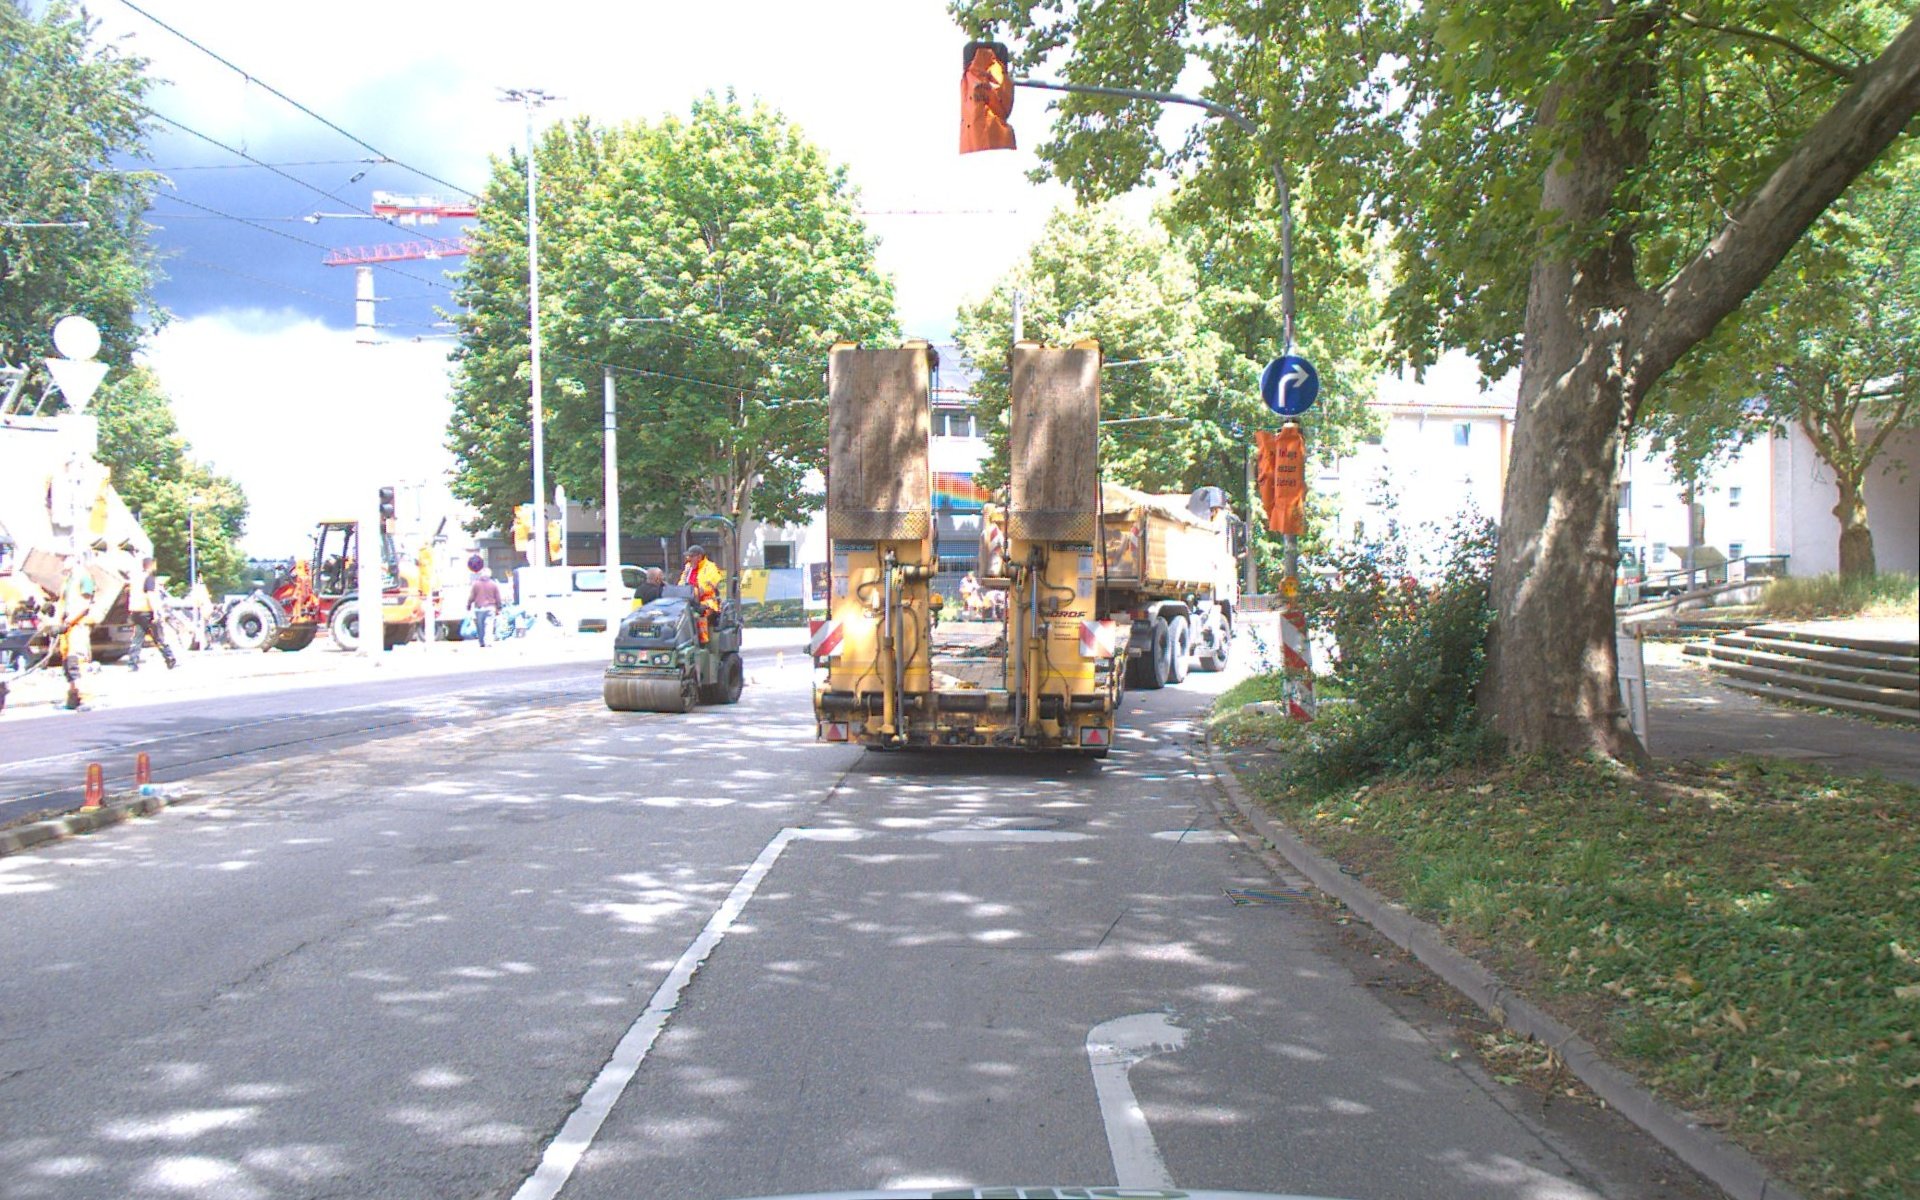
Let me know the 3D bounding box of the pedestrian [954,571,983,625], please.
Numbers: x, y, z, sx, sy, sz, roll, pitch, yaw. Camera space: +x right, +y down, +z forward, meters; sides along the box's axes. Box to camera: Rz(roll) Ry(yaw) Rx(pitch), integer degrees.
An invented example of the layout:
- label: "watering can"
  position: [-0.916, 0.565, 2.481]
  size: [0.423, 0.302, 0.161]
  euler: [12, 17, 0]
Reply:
- label: "pedestrian"
  position: [0.247, -0.063, 48.197]
  size: [0.745, 1.568, 0.797]
  euler: [-1, 0, -7]

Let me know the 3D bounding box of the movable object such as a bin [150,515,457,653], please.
- label: "movable object such as a bin"
  position: [-13.372, -0.320, 33.879]
  size: [5.452, 2.715, 2.117]
  euler: [0, 0, 5]

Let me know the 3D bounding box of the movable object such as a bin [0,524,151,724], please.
- label: "movable object such as a bin"
  position: [-10.685, 0.249, 18.044]
  size: [1.951, 2.049, 2.971]
  euler: [-1, 1, 8]

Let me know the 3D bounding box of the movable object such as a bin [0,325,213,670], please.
- label: "movable object such as a bin"
  position: [-17.798, -1.593, 30.001]
  size: [8.832, 5.580, 2.818]
  euler: [-1, 0, 28]

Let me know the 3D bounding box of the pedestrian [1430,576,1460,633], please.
- label: "pedestrian"
  position: [13.739, 0.129, 46.874]
  size: [0.747, 1.578, 0.901]
  euler: [0, 2, 21]

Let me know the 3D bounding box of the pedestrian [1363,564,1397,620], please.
- label: "pedestrian"
  position: [12.699, -0.239, 49.968]
  size: [0.693, 1.697, 0.824]
  euler: [0, -1, 39]

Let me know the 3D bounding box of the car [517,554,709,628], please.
- label: "car"
  position: [-9.811, -0.248, 46.689]
  size: [5.148, 1.920, 1.991]
  euler: [-1, -1, -16]

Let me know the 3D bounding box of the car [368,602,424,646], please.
- label: "car"
  position: [-20.024, 0.835, 58.795]
  size: [1.744, 1.484, 3.858]
  euler: [-1, 0, -17]

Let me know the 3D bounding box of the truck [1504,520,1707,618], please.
- label: "truck"
  position: [20.611, -1.028, 52.769]
  size: [6.307, 2.772, 2.645]
  euler: [-4, 2, -30]

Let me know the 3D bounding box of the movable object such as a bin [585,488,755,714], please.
- label: "movable object such as a bin"
  position: [-3.554, -0.011, 20.568]
  size: [1.288, 2.639, 2.365]
  euler: [0, 1, 12]

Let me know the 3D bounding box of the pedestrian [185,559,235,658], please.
- label: "pedestrian"
  position: [-14.024, 0.149, 30.935]
  size: [0.568, 1.819, 0.613]
  euler: [-1, 2, 2]

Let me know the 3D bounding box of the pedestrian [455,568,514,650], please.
- label: "pedestrian"
  position: [-9.972, 0.177, 34.706]
  size: [0.906, 1.688, 0.875]
  euler: [-1, 1, 5]

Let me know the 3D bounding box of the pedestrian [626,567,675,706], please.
- label: "pedestrian"
  position: [-3.883, 0.450, 20.766]
  size: [0.459, 1.711, 0.559]
  euler: [1, 0, 2]

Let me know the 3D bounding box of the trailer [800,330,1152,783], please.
- label: "trailer"
  position: [0.638, -0.415, 18.804]
  size: [2.763, 3.585, 11.059]
  euler: [1, 1, 5]

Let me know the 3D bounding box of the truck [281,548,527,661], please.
- label: "truck"
  position: [-14.450, 0.107, 43.213]
  size: [5.448, 2.613, 2.421]
  euler: [-3, 0, 4]

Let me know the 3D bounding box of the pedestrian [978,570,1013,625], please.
- label: "pedestrian"
  position: [1.035, -0.073, 48.328]
  size: [0.887, 1.559, 0.840]
  euler: [-1, 0, -7]

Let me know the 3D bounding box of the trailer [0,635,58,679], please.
- label: "trailer"
  position: [-14.665, 0.874, 25.077]
  size: [0.778, 0.627, 1.597]
  euler: [-2, 0, 23]

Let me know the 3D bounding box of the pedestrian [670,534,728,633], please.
- label: "pedestrian"
  position: [-3.339, -0.214, 21.194]
  size: [0.537, 1.238, 0.618]
  euler: [-1, 1, 10]

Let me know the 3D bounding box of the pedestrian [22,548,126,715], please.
- label: "pedestrian"
  position: [-10.208, 0.354, 19.077]
  size: [0.765, 1.871, 0.768]
  euler: [-1, 0, -3]

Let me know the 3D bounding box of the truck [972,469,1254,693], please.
- label: "truck"
  position: [2.845, -0.349, 27.856]
  size: [2.857, 3.222, 7.682]
  euler: [1, 1, 20]

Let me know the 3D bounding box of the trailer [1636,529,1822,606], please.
- label: "trailer"
  position: [26.007, -1.142, 55.900]
  size: [6.162, 2.252, 2.645]
  euler: [-4, 3, -30]

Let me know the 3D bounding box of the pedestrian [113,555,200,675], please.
- label: "pedestrian"
  position: [-12.716, 0.224, 26.196]
  size: [0.777, 1.864, 0.972]
  euler: [0, 0, 19]
